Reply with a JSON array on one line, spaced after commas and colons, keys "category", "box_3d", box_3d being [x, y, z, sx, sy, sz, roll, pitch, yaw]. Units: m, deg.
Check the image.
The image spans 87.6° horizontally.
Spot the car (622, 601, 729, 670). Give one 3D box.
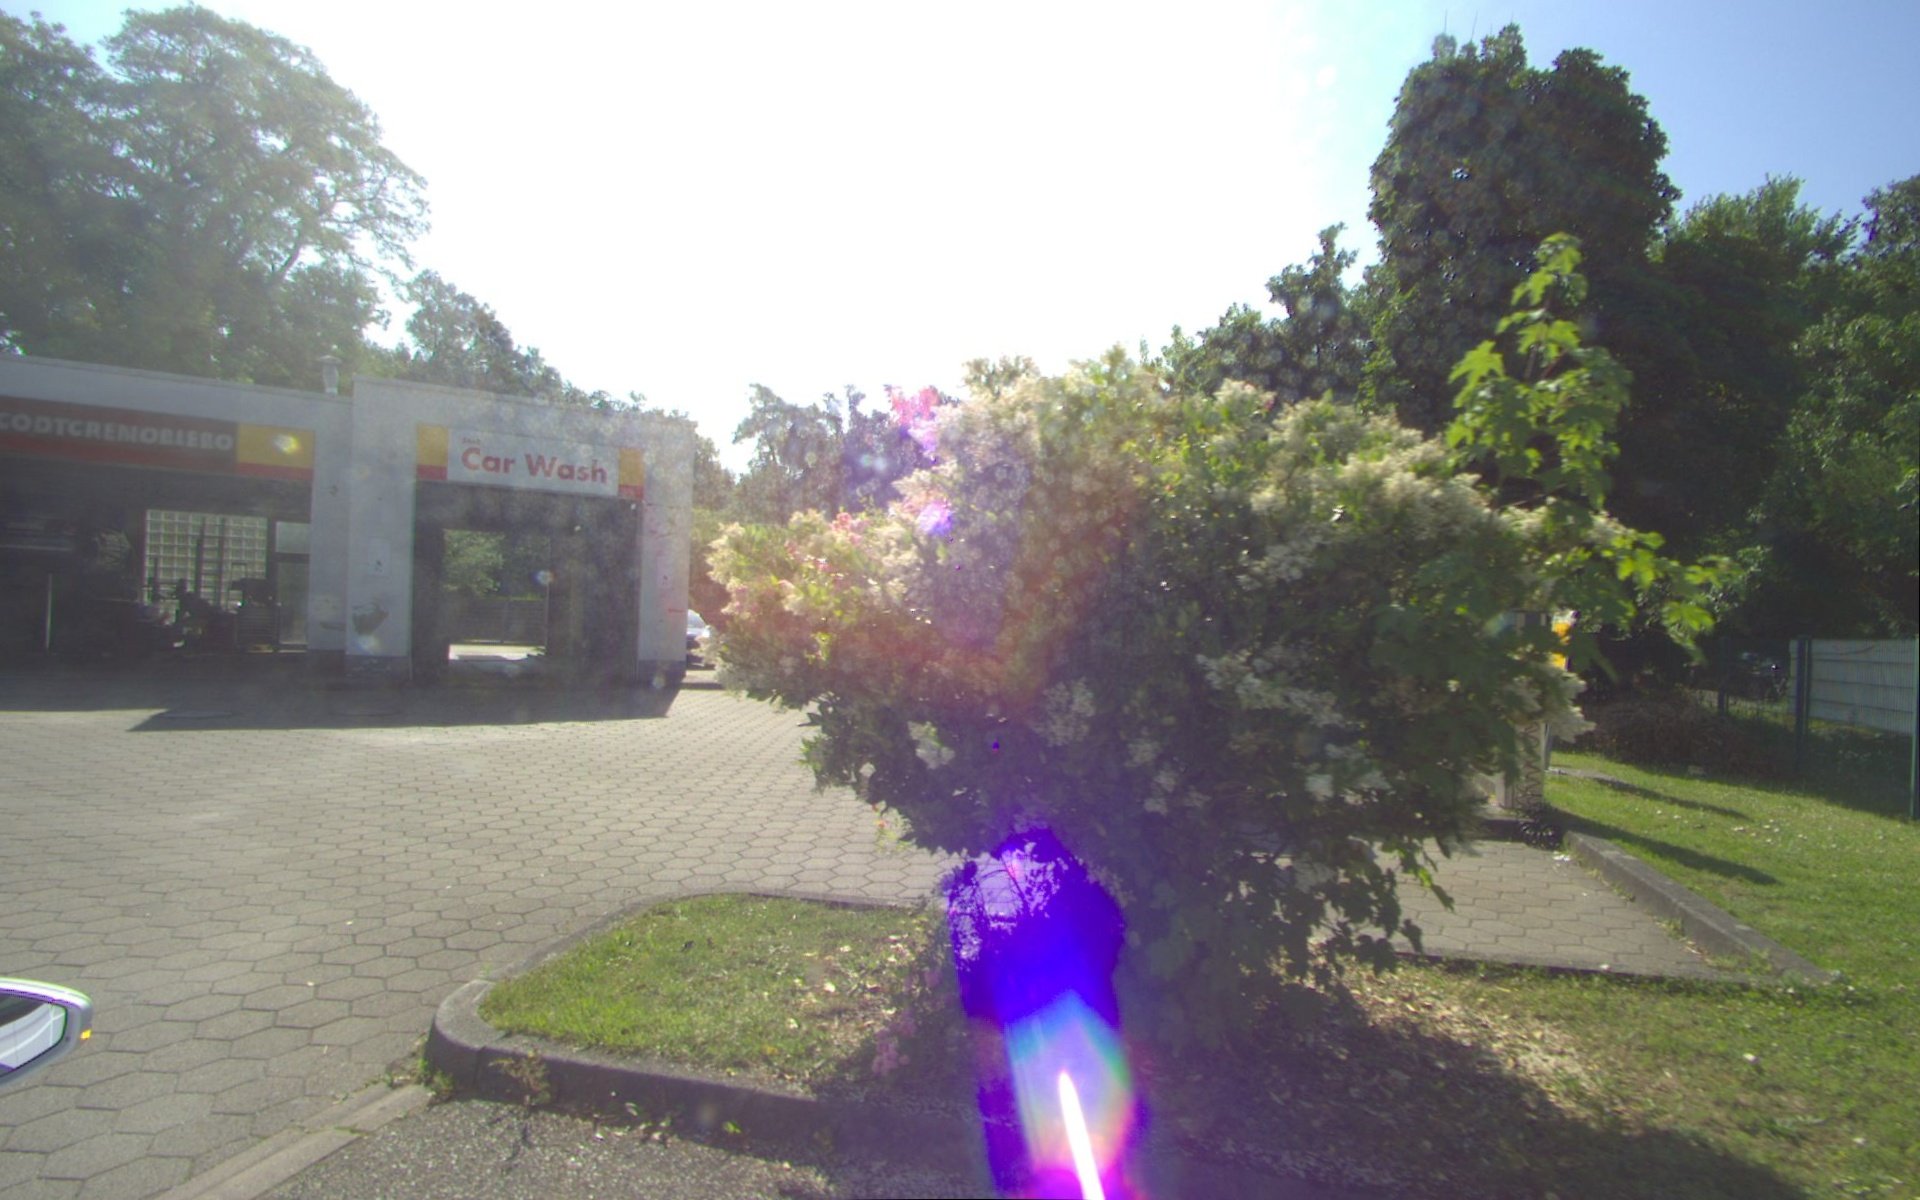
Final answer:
[{"category": "car", "box_3d": [-7.154, 0.887, 24.974, 1.703, 1.595, 3.374, 2, -2, -32]}]

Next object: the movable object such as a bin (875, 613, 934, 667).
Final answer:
[{"category": "movable object such as a bin", "box_3d": [-1.407, 1.005, 25.620, 1.214, 1.306, 0.864, 2, 0, 22]}]

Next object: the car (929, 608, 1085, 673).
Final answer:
[{"category": "car", "box_3d": [1.181, 1.007, 24.823, 3.461, 1.457, 1.674, 2, 1, -30]}]

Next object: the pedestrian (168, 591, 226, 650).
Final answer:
[{"category": "pedestrian", "box_3d": [-16.018, 0.443, 21.043, 0.854, 1.213, 0.739, 2, -2, -32]}]

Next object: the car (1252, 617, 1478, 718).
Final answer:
[{"category": "car", "box_3d": [7.010, 1.128, 17.231, 3.888, 1.531, 1.673, 3, -1, -33]}]

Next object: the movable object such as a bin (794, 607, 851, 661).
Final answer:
[{"category": "movable object such as a bin", "box_3d": [-3.584, 0.887, 26.218, 1.212, 1.342, 0.849, 2, 0, 13]}]

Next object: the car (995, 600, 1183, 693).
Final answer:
[{"category": "car", "box_3d": [2.820, 0.925, 21.635, 3.886, 1.817, 1.673, 0, 1, -33]}]

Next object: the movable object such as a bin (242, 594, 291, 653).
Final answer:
[{"category": "movable object such as a bin", "box_3d": [-15.192, 0.523, 21.951, 0.788, 1.252, 0.542, 2, -2, -29]}]

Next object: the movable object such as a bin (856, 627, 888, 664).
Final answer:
[{"category": "movable object such as a bin", "box_3d": [-2.270, 1.182, 25.950, 0.485, 0.922, 0.864, 2, 0, 20]}]

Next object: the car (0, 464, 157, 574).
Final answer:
[{"category": "car", "box_3d": [-16.081, -1.367, 18.158, 1.628, 1.505, 3.982, 2, -2, -28]}]
